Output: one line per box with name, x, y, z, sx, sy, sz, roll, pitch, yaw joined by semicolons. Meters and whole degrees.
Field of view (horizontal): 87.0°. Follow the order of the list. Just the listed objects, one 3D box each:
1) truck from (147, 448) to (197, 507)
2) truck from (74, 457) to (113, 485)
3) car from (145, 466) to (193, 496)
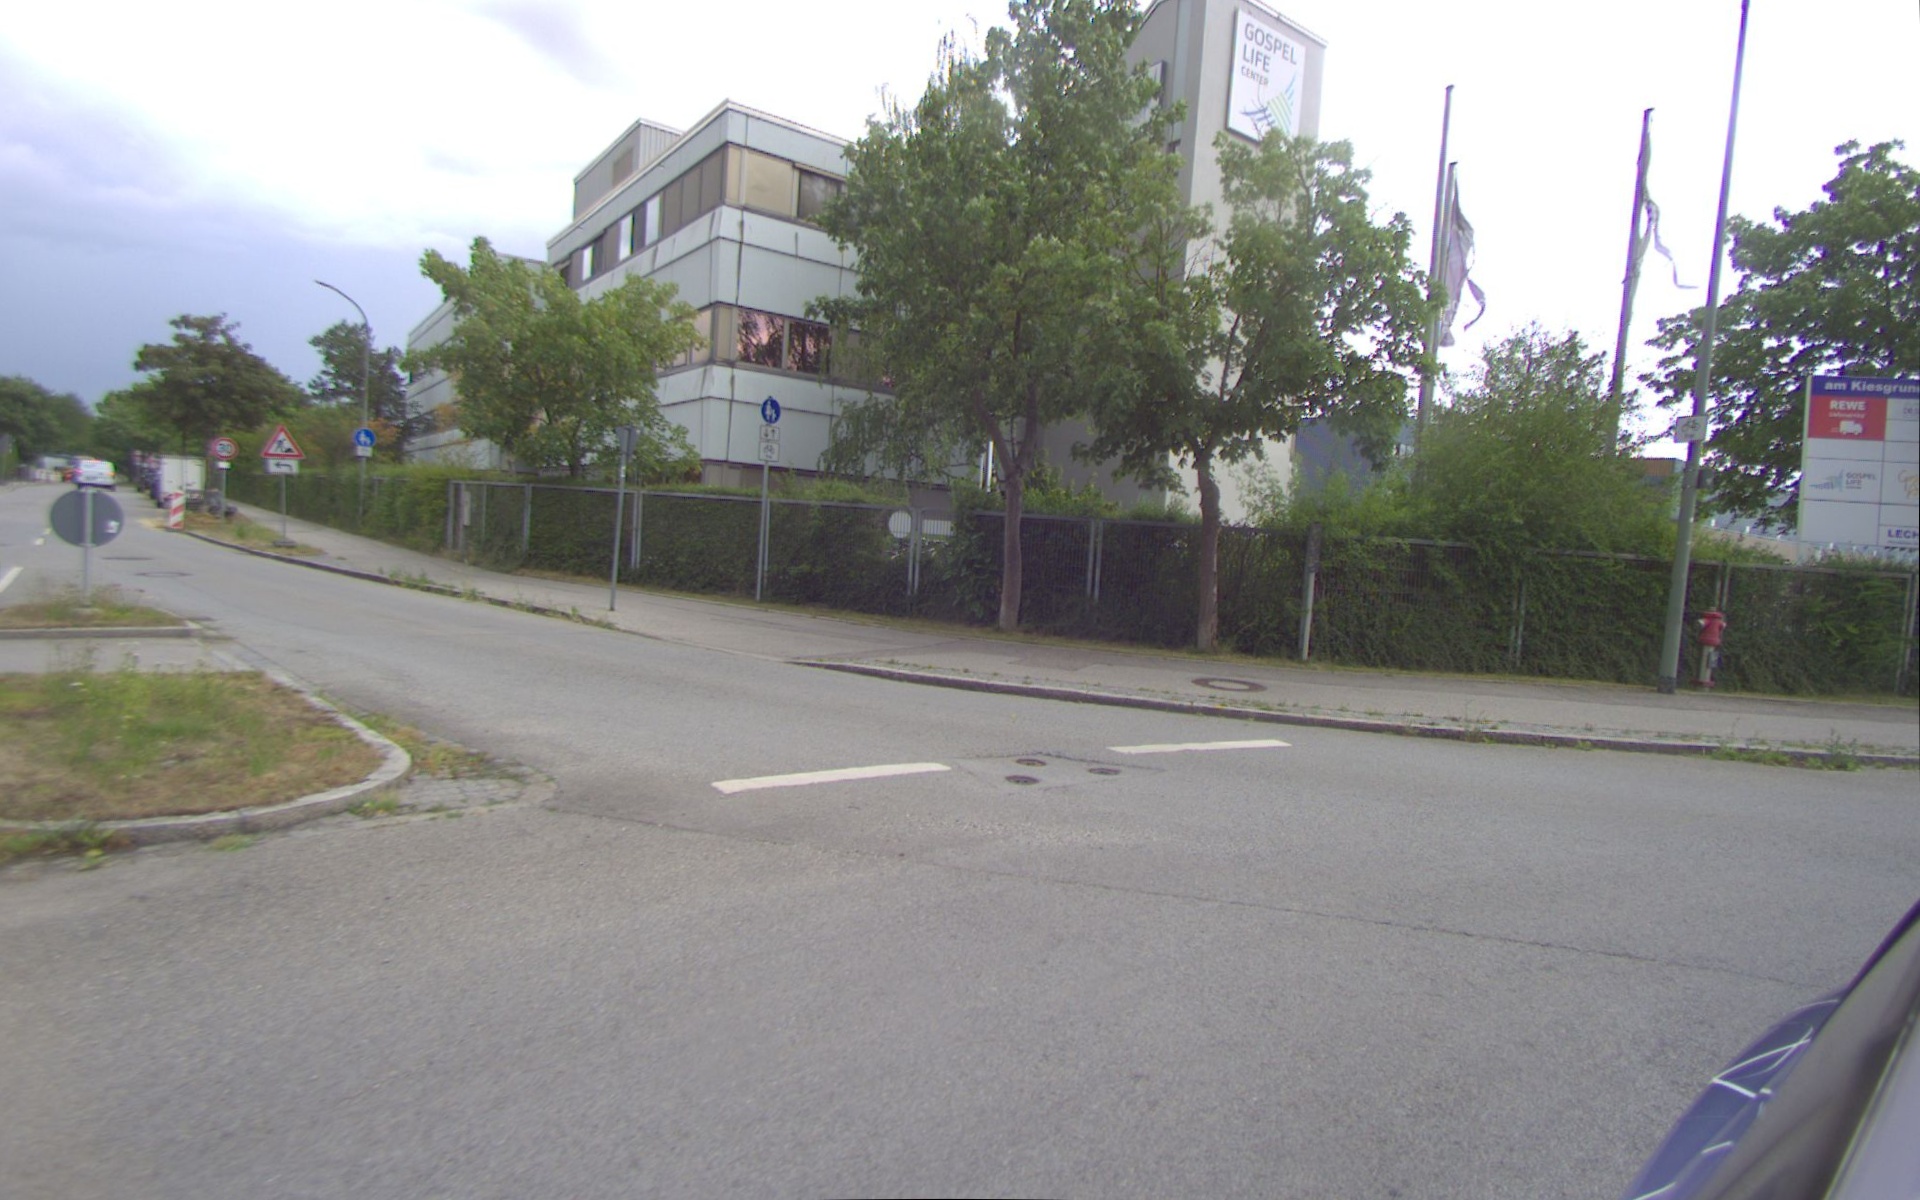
truck;-36.809;-5.706;47.311;1.734;2.498;4.400;1;5;-38
truck;-58.081;-8.649;67.864;1.733;1.661;4.400;1;5;-38
car;-45.105;-6.813;57.716;1.965;1.503;3.998;1;5;-41
